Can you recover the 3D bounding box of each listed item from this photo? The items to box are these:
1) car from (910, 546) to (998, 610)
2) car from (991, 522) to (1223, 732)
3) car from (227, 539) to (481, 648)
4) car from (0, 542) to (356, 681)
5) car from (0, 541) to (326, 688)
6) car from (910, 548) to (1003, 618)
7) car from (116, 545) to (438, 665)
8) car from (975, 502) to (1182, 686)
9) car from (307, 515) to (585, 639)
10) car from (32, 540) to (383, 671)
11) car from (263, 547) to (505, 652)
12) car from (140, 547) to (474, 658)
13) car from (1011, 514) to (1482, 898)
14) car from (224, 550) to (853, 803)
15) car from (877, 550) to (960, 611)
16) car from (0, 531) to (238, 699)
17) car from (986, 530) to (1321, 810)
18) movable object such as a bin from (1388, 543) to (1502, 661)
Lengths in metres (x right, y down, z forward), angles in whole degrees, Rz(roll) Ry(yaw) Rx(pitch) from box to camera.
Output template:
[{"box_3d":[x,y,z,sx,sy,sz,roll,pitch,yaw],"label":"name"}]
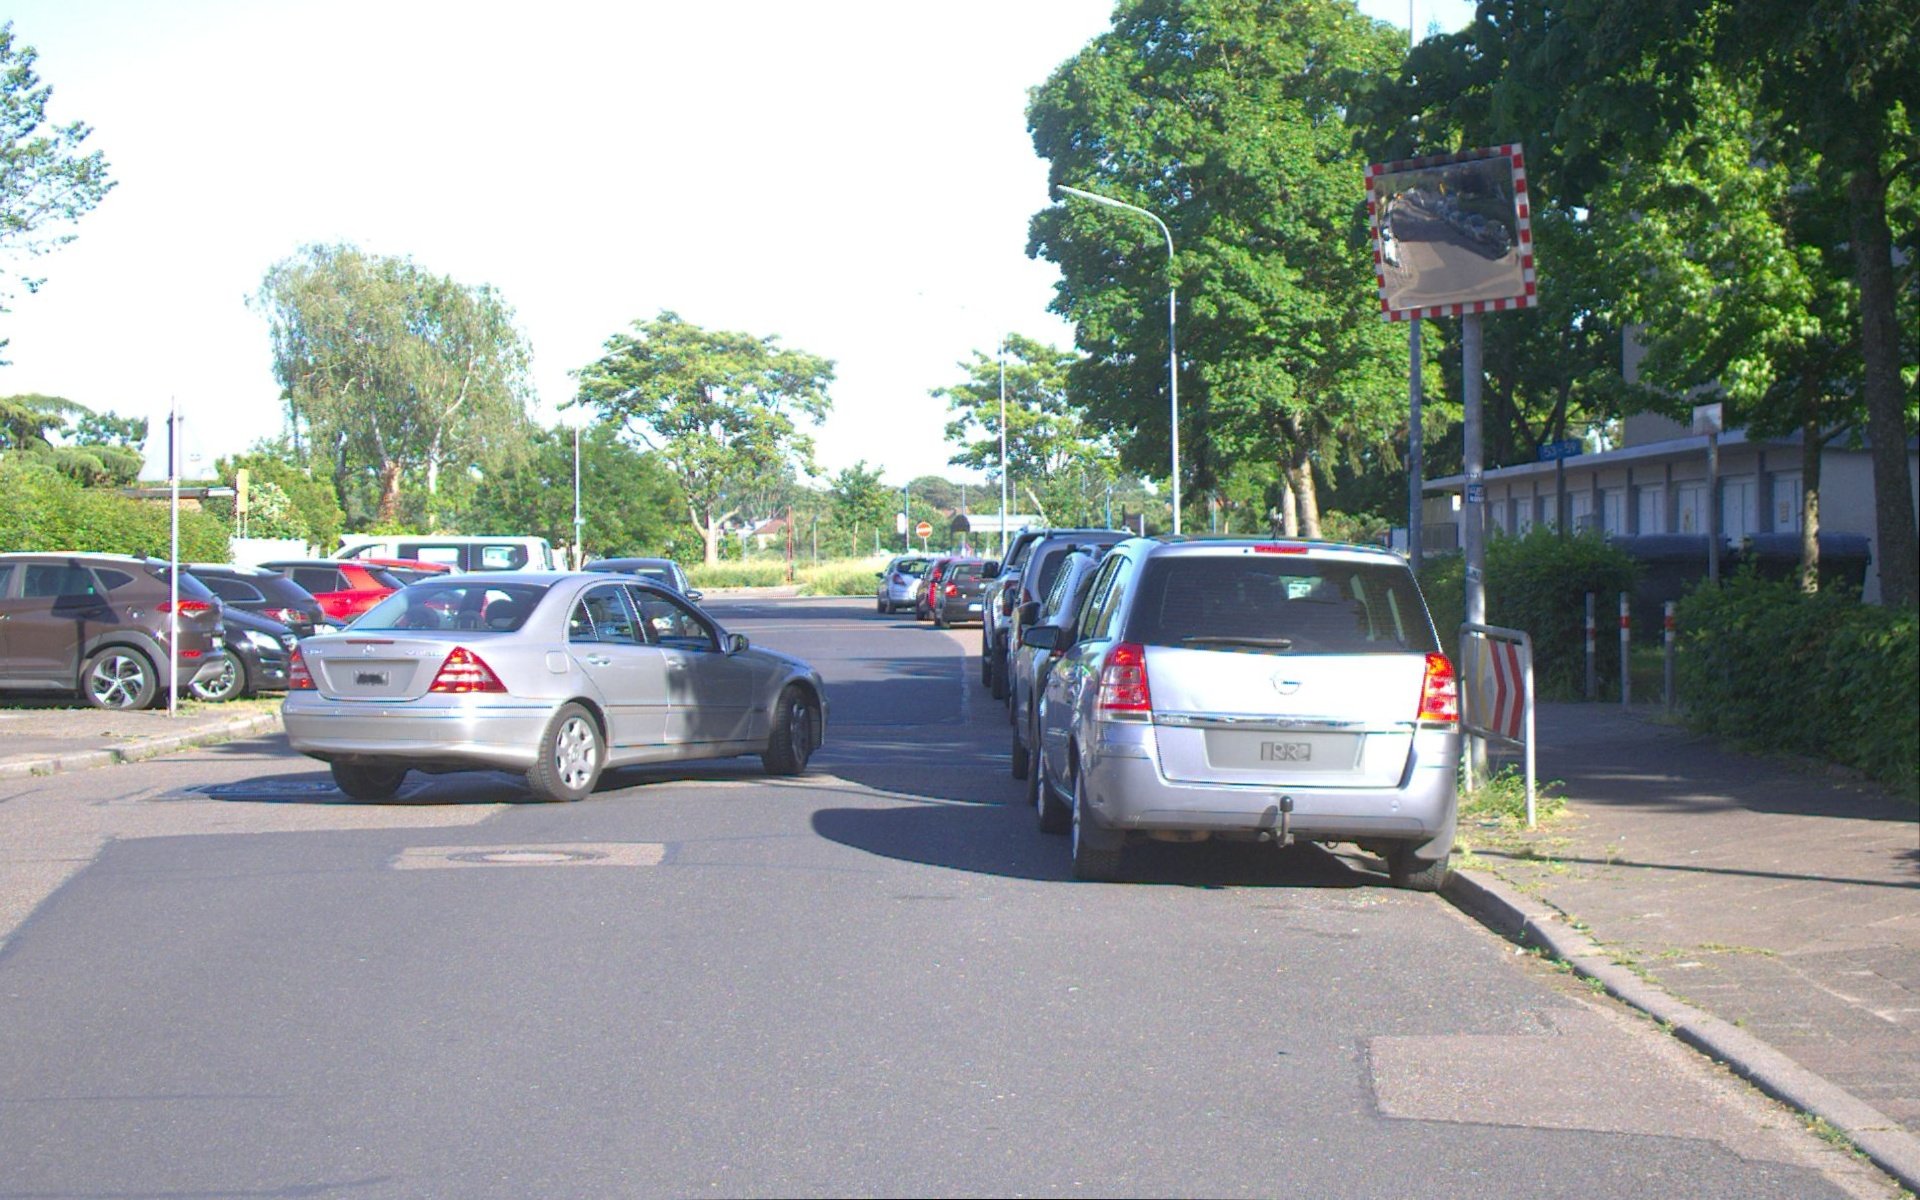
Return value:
[{"box_3d":[-0.168,-0.496,79.511,1.575,1.441,3.789,0,0,-7],"label":"car"},{"box_3d":[1.317,0.191,32.612,1.833,1.785,4.556,2,1,-2],"label":"car"},{"box_3d":[-9.403,-0.122,53.521,3.602,1.562,1.881,2,1,-1],"label":"car"},{"box_3d":[-9.404,0.135,41.017,4.092,1.507,1.812,2,0,-2],"label":"car"},{"box_3d":[-9.313,0.153,38.817,3.986,1.527,1.832,2,0,-2],"label":"car"},{"box_3d":[-0.098,-0.349,71.909,1.647,1.398,3.882,-1,0,-4],"label":"car"},{"box_3d":[-9.216,0.056,46.577,3.987,1.474,1.791,2,1,-1],"label":"car"},{"box_3d":[1.225,-0.121,37.822,1.906,1.834,5.275,2,1,-2],"label":"car"},{"box_3d":[-8.801,-0.393,59.148,4.478,1.970,2.000,2,0,-2],"label":"car"},{"box_3d":[-9.454,0.074,43.424,4.018,1.507,1.906,2,0,-2],"label":"car"},{"box_3d":[-9.352,-0.019,56.029,3.602,1.562,1.852,2,1,-1],"label":"car"},{"box_3d":[-9.537,0.024,50.454,4.543,1.474,1.748,2,1,-1],"label":"car"},{"box_3d":[1.270,0.457,16.987,1.768,1.605,4.373,2,0,-2],"label":"car"},{"box_3d":[-2.613,0.419,22.399,1.819,1.458,4.353,1,1,30],"label":"car"},{"box_3d":[-1.089,-0.502,89.377,1.731,1.538,3.789,0,0,-7],"label":"car"},{"box_3d":[-9.816,0.122,35.869,4.186,1.650,1.847,2,0,-3],"label":"car"},{"box_3d":[1.153,0.390,22.163,1.804,1.588,4.024,2,1,-1],"label":"car"},{"box_3d":[5.630,0.027,39.892,1.250,1.342,1.052,0,-1,11],"label":"movable object such as a bin"}]
